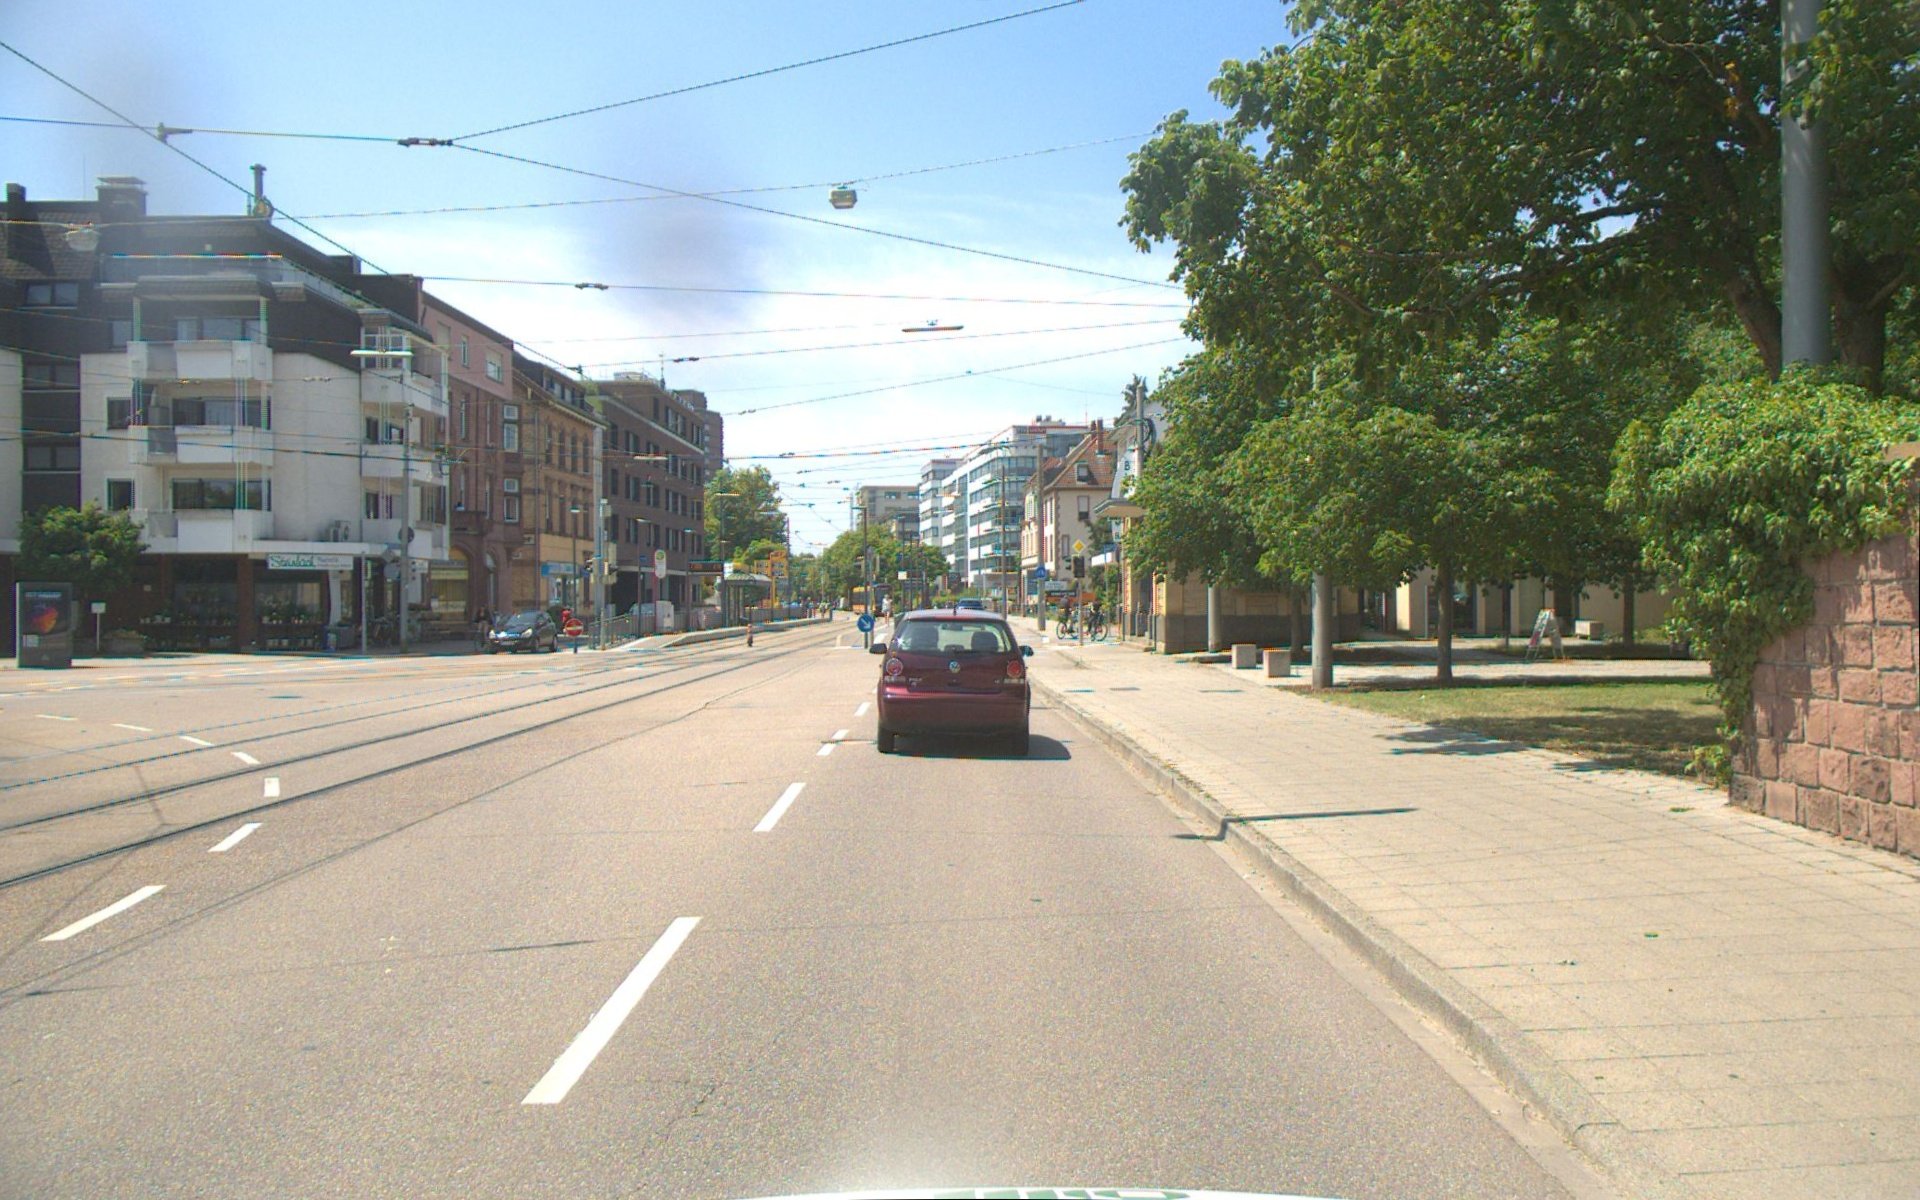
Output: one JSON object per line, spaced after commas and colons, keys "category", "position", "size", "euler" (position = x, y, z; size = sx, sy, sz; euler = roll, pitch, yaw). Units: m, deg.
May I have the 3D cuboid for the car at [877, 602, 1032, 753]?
{"category": "car", "position": [-0.071, 0.776, 17.981], "size": [1.529, 1.479, 3.061], "euler": [-1, 0, -1]}

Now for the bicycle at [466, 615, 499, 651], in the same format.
{"category": "bicycle", "position": [-18.036, 1.231, 62.541], "size": [0.663, 1.327, 2.104], "euler": [-1, 0, -1]}

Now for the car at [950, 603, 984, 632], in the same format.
{"category": "car", "position": [0.423, 0.997, 98.338], "size": [1.952, 1.653, 4.632], "euler": [-1, 0, 1]}

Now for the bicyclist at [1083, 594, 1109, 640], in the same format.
{"category": "bicyclist", "position": [5.091, 0.631, 61.817], "size": [0.815, 1.646, 0.860], "euler": [-4, 2, 0]}

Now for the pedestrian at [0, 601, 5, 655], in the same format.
{"category": "pedestrian", "position": [-30.804, 0.900, 52.305], "size": [0.684, 1.726, 0.808], "euler": [-1, 0, 4]}

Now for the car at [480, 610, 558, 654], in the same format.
{"category": "car", "position": [-15.698, 1.114, 59.031], "size": [1.674, 1.464, 3.866], "euler": [-1, 0, 1]}

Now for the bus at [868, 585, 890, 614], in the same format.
{"category": "bus", "position": [-8.706, -0.081, 178.154], "size": [2.101, 3.055, 6.572], "euler": [-1, 0, -1]}

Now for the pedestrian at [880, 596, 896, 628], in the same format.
{"category": "pedestrian", "position": [-3.787, 0.626, 86.946], "size": [0.747, 1.704, 1.100], "euler": [-1, 0, 1]}

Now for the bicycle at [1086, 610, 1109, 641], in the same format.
{"category": "bicycle", "position": [5.111, 0.955, 61.689], "size": [0.655, 1.020, 1.864], "euler": [-4, 2, 0]}

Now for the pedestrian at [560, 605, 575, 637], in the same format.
{"category": "pedestrian", "position": [-20.015, 1.062, 84.285], "size": [0.602, 1.588, 0.640], "euler": [-1, 0, -1]}

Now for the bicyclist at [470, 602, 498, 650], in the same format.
{"category": "bicyclist", "position": [-18.038, 0.987, 62.715], "size": [0.717, 1.793, 1.134], "euler": [-1, 0, -1]}

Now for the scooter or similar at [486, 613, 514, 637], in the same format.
{"category": "scooter or similar", "position": [-21.807, 1.192, 78.409], "size": [0.477, 1.101, 1.578], "euler": [-1, 0, 16]}

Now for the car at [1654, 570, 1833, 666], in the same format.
{"category": "car", "position": [17.457, 0.409, 36.927], "size": [3.263, 2.049, 1.464], "euler": [-1, -2, 0]}

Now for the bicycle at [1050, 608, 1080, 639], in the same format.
{"category": "bicycle", "position": [4.199, 0.928, 65.817], "size": [0.368, 1.218, 1.901], "euler": [-1, 0, 30]}

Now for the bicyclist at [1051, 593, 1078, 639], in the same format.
{"category": "bicyclist", "position": [4.147, 0.636, 65.771], "size": [0.714, 1.791, 0.922], "euler": [-1, 0, 31]}
